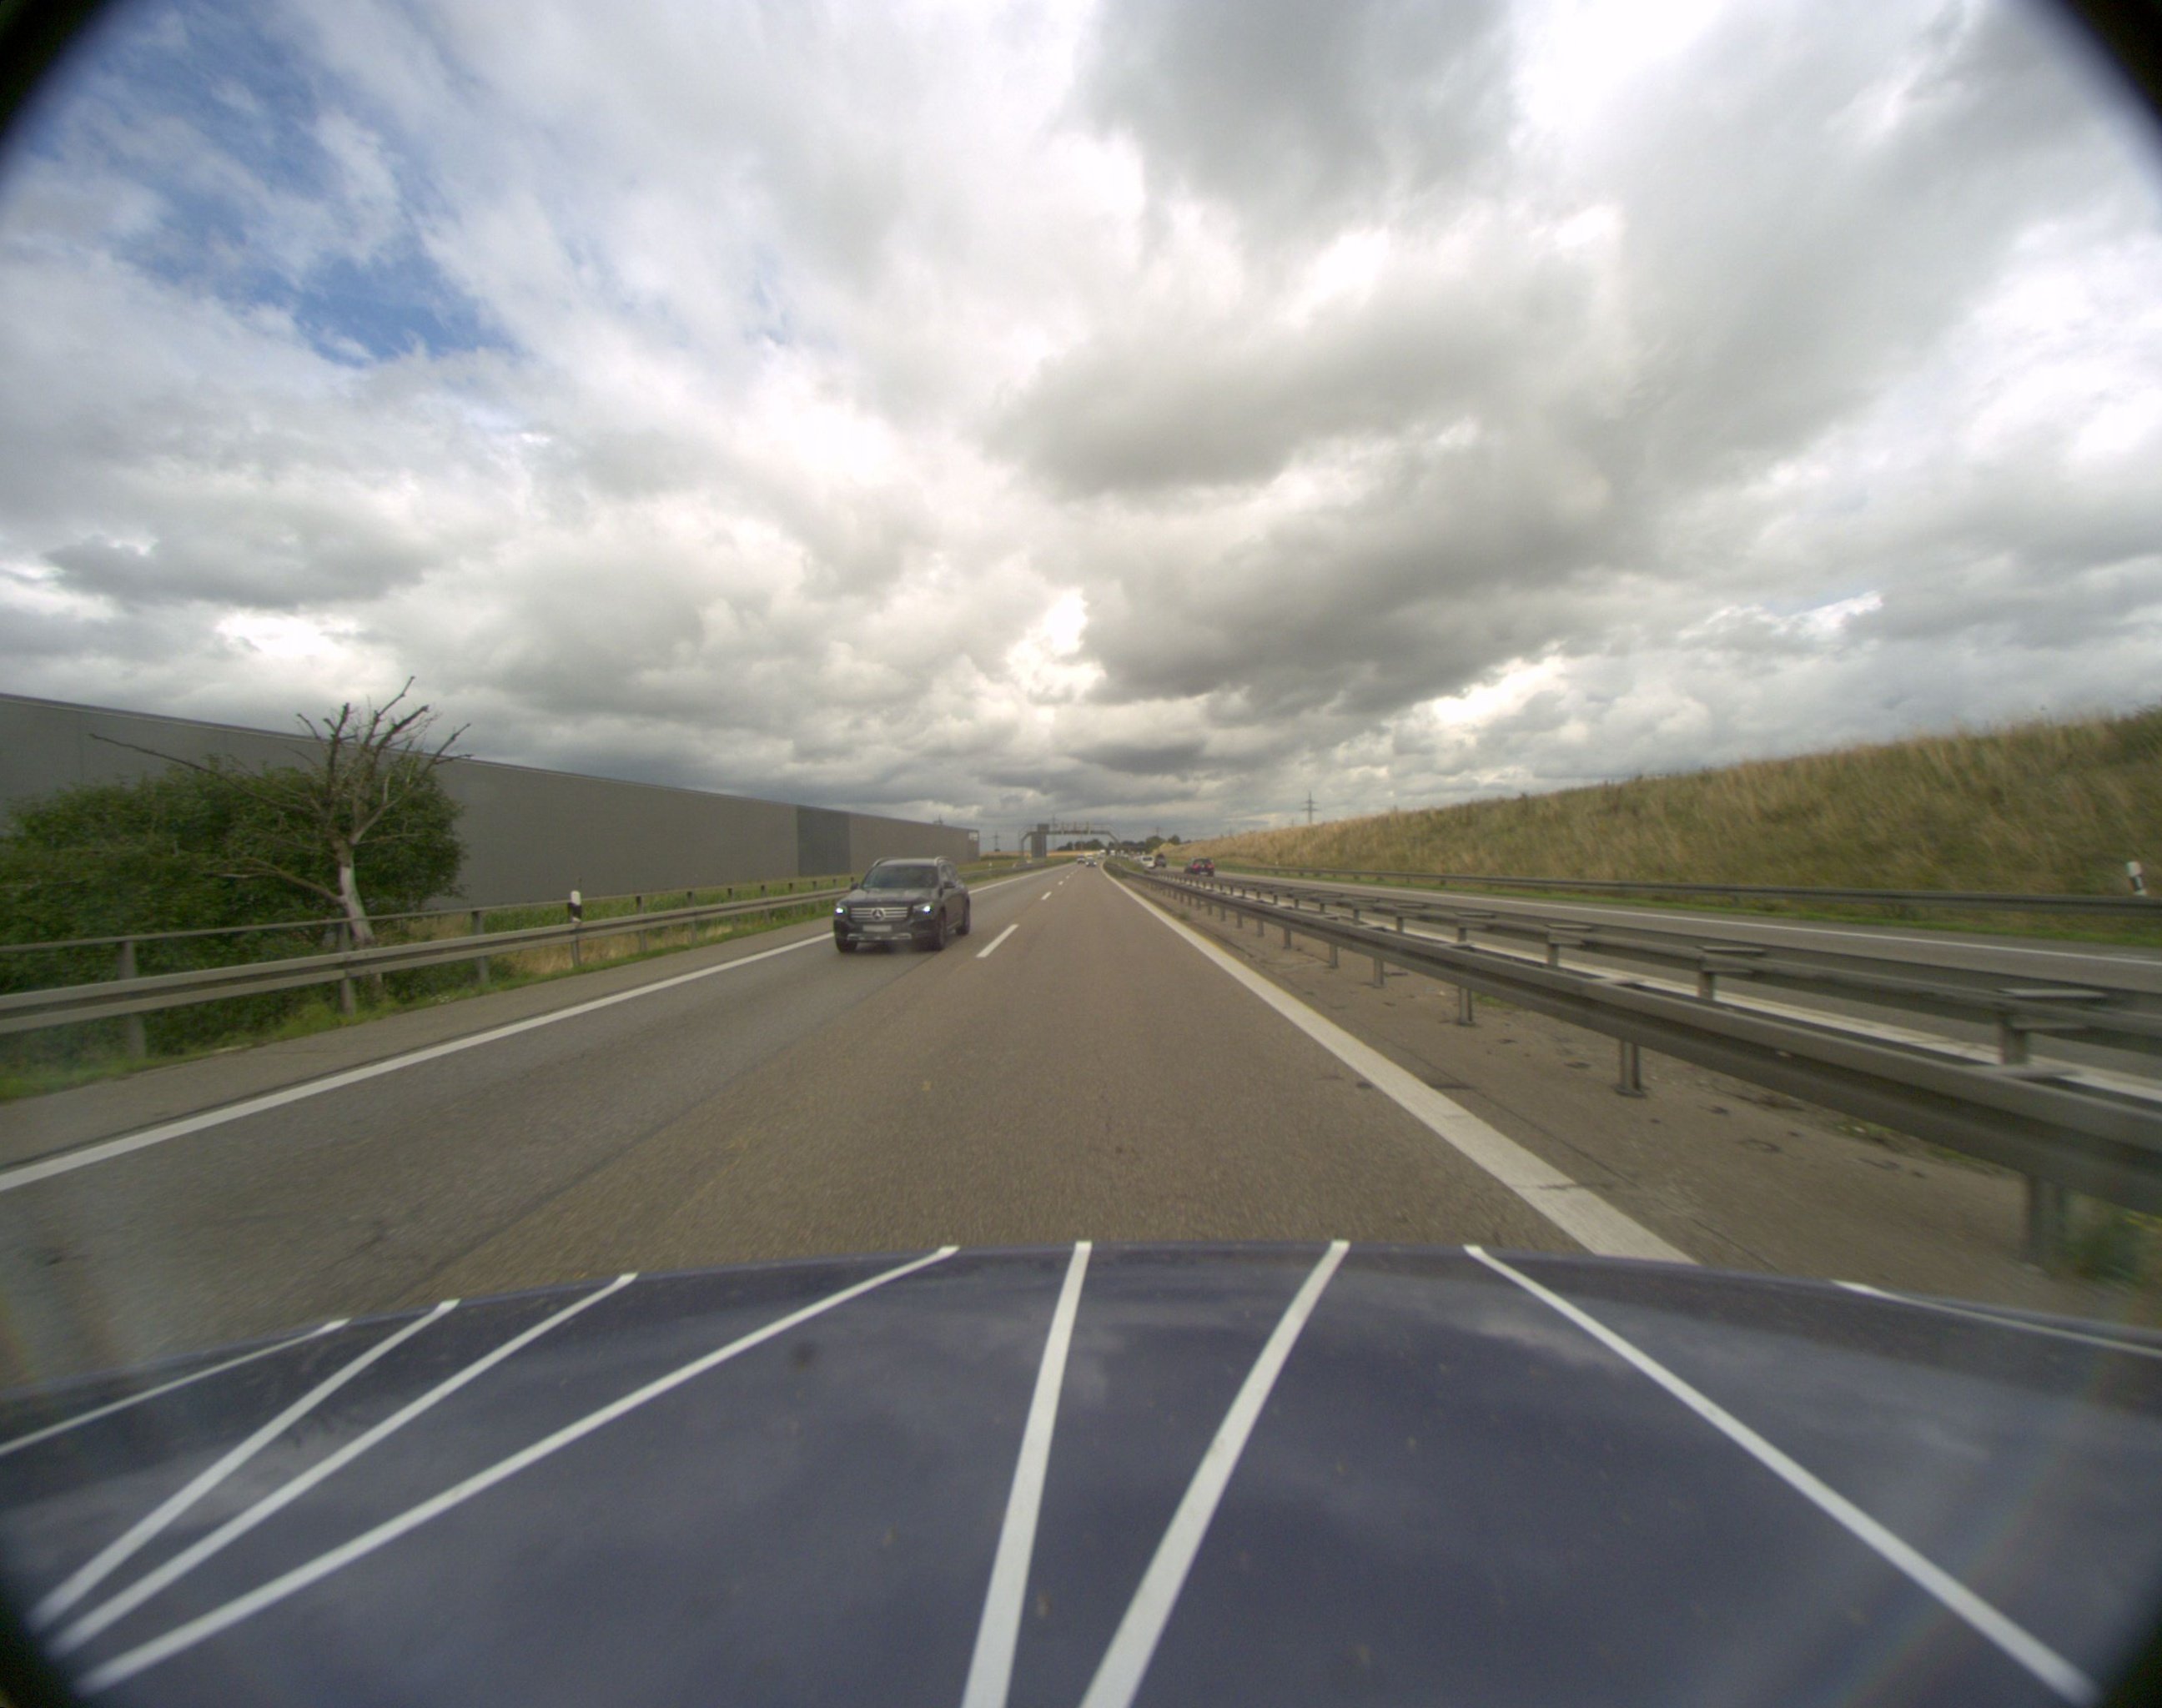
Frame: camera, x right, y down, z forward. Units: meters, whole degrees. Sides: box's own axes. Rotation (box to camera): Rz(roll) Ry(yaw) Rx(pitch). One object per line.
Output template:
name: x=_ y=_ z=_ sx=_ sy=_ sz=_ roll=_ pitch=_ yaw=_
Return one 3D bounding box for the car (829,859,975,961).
car: x=-3.286 y=0.954 z=14.863 sx=1.838 sy=1.600 sz=4.359 roll=0 pitch=1 yaw=0

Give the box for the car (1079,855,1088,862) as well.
car: x=0.739 y=1.074 z=201.971 sx=1.998 sy=1.812 sz=4.343 roll=0 pitch=0 yaw=4

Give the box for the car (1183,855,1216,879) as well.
car: x=8.495 y=0.878 z=54.764 sx=1.846 sy=1.567 sz=4.000 roll=-1 pitch=1 yaw=1

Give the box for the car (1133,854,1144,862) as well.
car: x=10.777 y=0.658 z=142.325 sx=1.816 sy=1.394 sz=4.405 roll=-1 pitch=1 yaw=1

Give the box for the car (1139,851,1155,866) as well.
car: x=8.930 y=0.635 z=102.878 sx=1.832 sy=1.874 sz=5.418 roll=-1 pitch=1 yaw=1

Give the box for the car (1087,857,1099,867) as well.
car: x=2.108 y=1.498 z=136.380 sx=1.998 sy=1.695 sz=4.662 roll=-2 pitch=-1 yaw=1

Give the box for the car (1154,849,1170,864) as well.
car: x=12.893 y=0.425 z=121.121 sx=1.998 sy=2.229 sz=5.718 roll=-1 pitch=1 yaw=1
